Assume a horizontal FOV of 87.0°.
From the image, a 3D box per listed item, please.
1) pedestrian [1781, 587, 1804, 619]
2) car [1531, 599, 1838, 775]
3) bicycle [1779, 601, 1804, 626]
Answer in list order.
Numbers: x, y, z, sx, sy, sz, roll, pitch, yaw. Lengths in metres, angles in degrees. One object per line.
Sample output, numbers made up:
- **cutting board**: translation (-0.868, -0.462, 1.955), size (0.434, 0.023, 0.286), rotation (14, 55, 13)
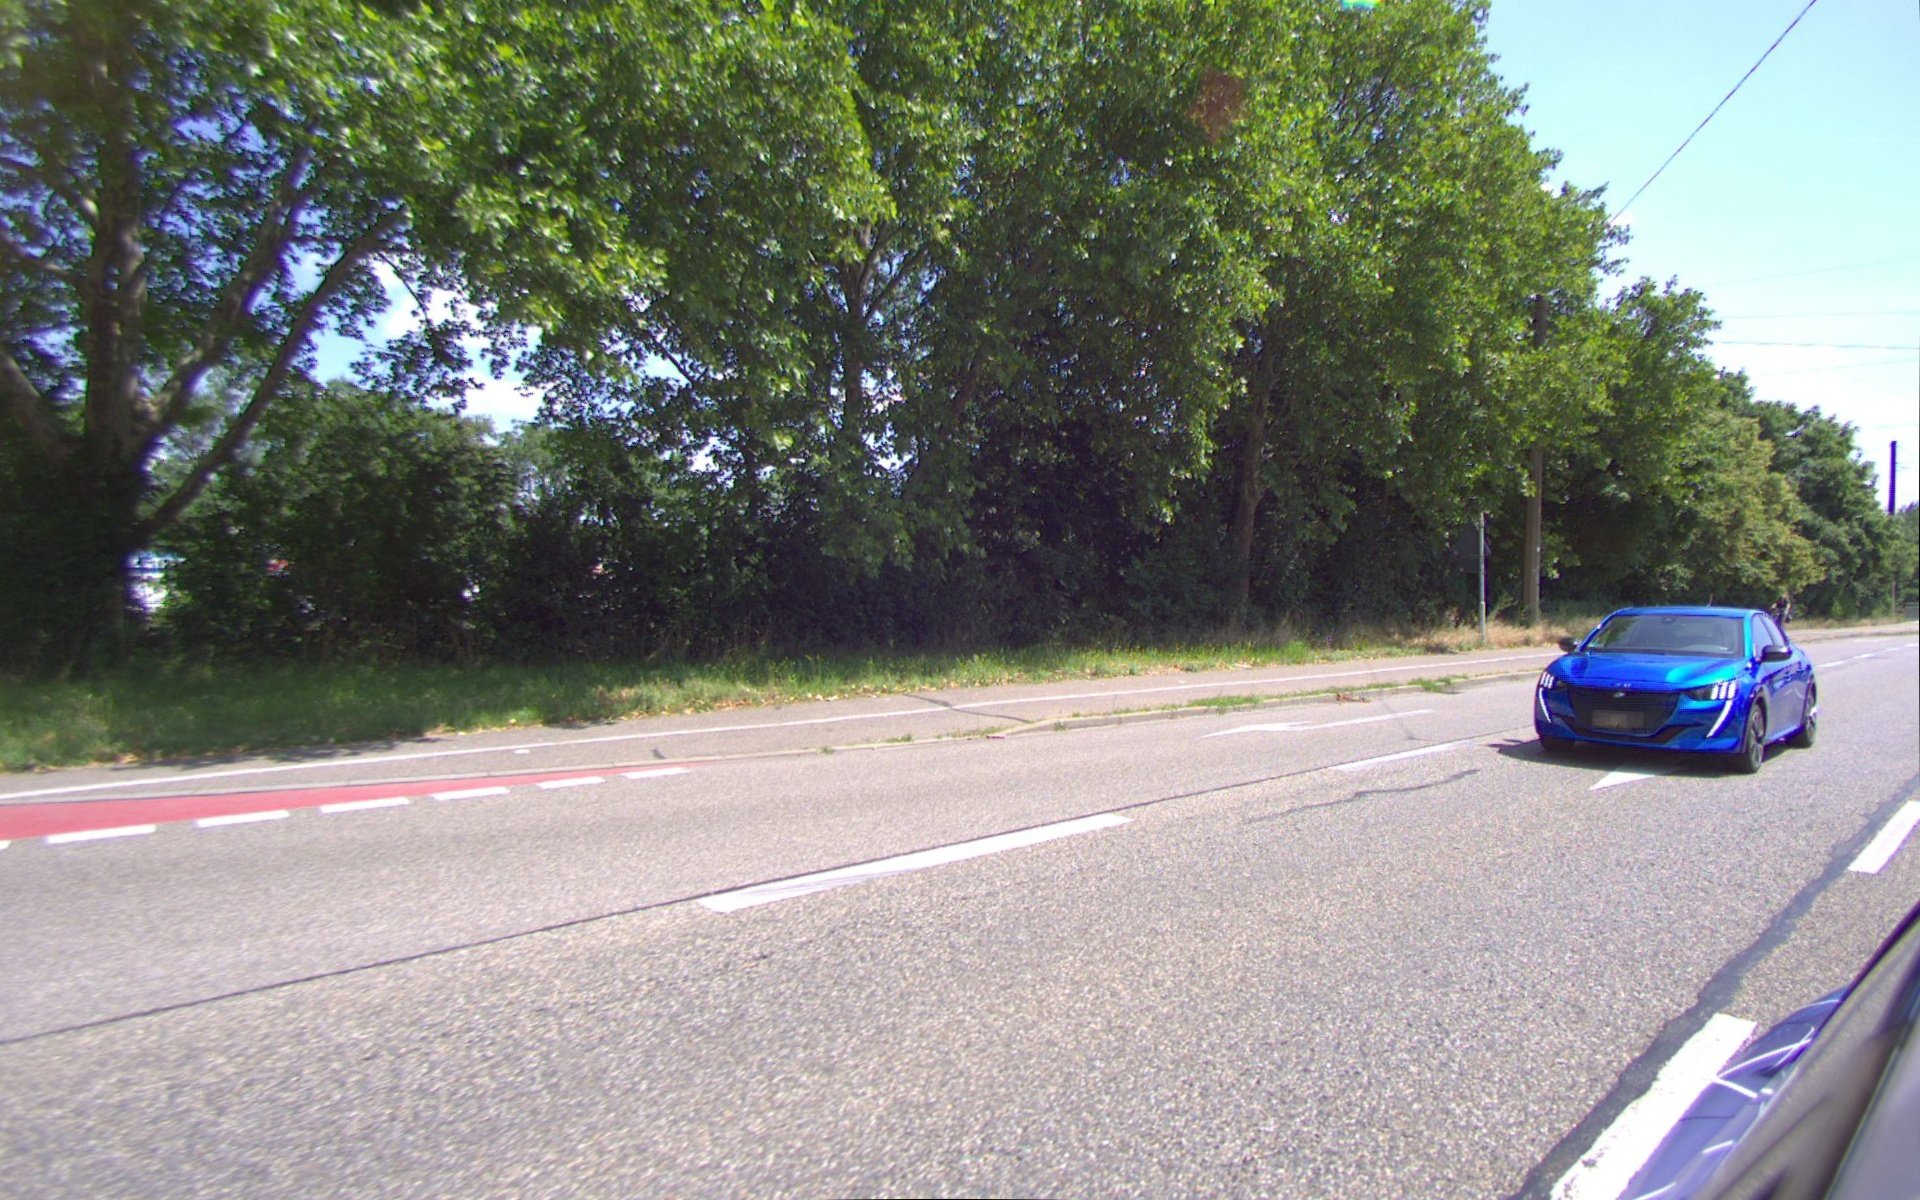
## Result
- **pedestrian**: translation (37.113, 0.140, 45.118), size (1.032, 1.391, 0.629), rotation (0, 1, -41)
- **car**: translation (7.294, 0.704, 10.071), size (3.678, 1.423, 1.659), rotation (0, 0, -41)
- **bicycle**: translation (37.063, 0.588, 45.095), size (1.815, 1.037, 0.560), rotation (0, 2, -41)
